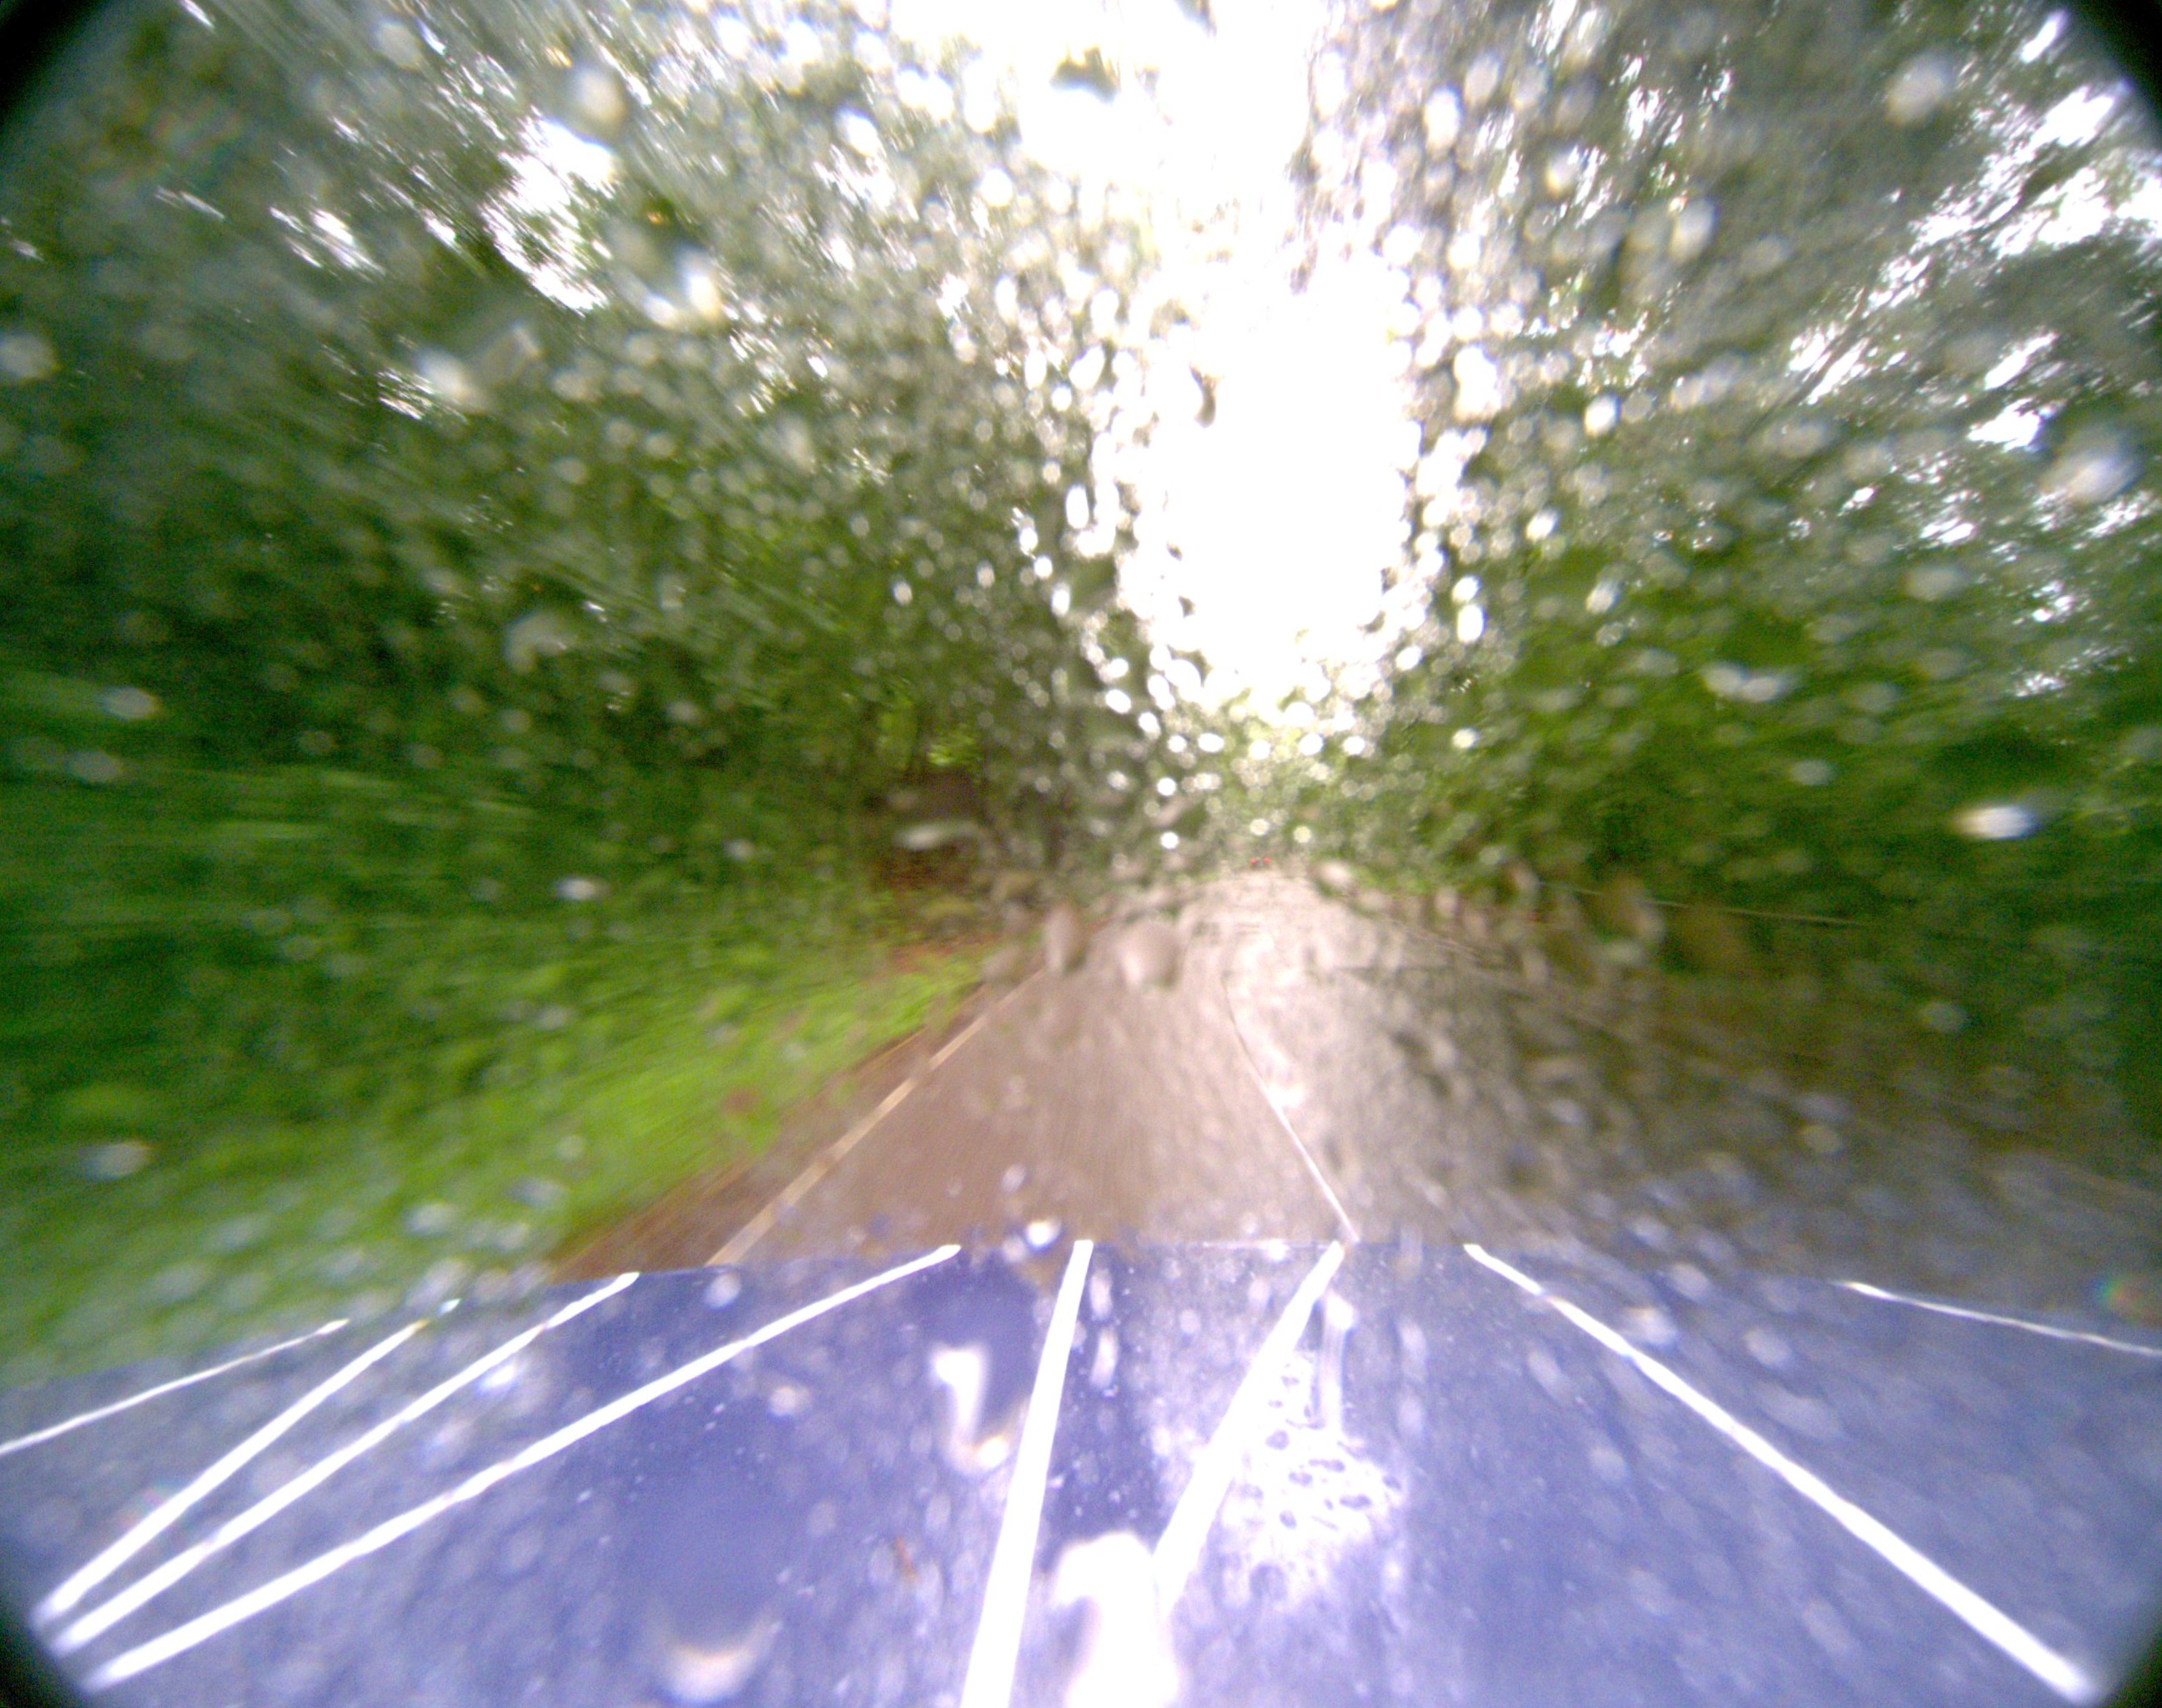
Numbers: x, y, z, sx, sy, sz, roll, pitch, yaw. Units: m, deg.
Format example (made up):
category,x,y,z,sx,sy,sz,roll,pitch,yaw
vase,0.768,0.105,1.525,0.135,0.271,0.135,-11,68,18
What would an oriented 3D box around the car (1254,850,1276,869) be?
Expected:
category,x,y,z,sx,sy,sz,roll,pitch,yaw
car,18.468,0.533,76.152,1.996,1.739,4.004,-3,0,16
